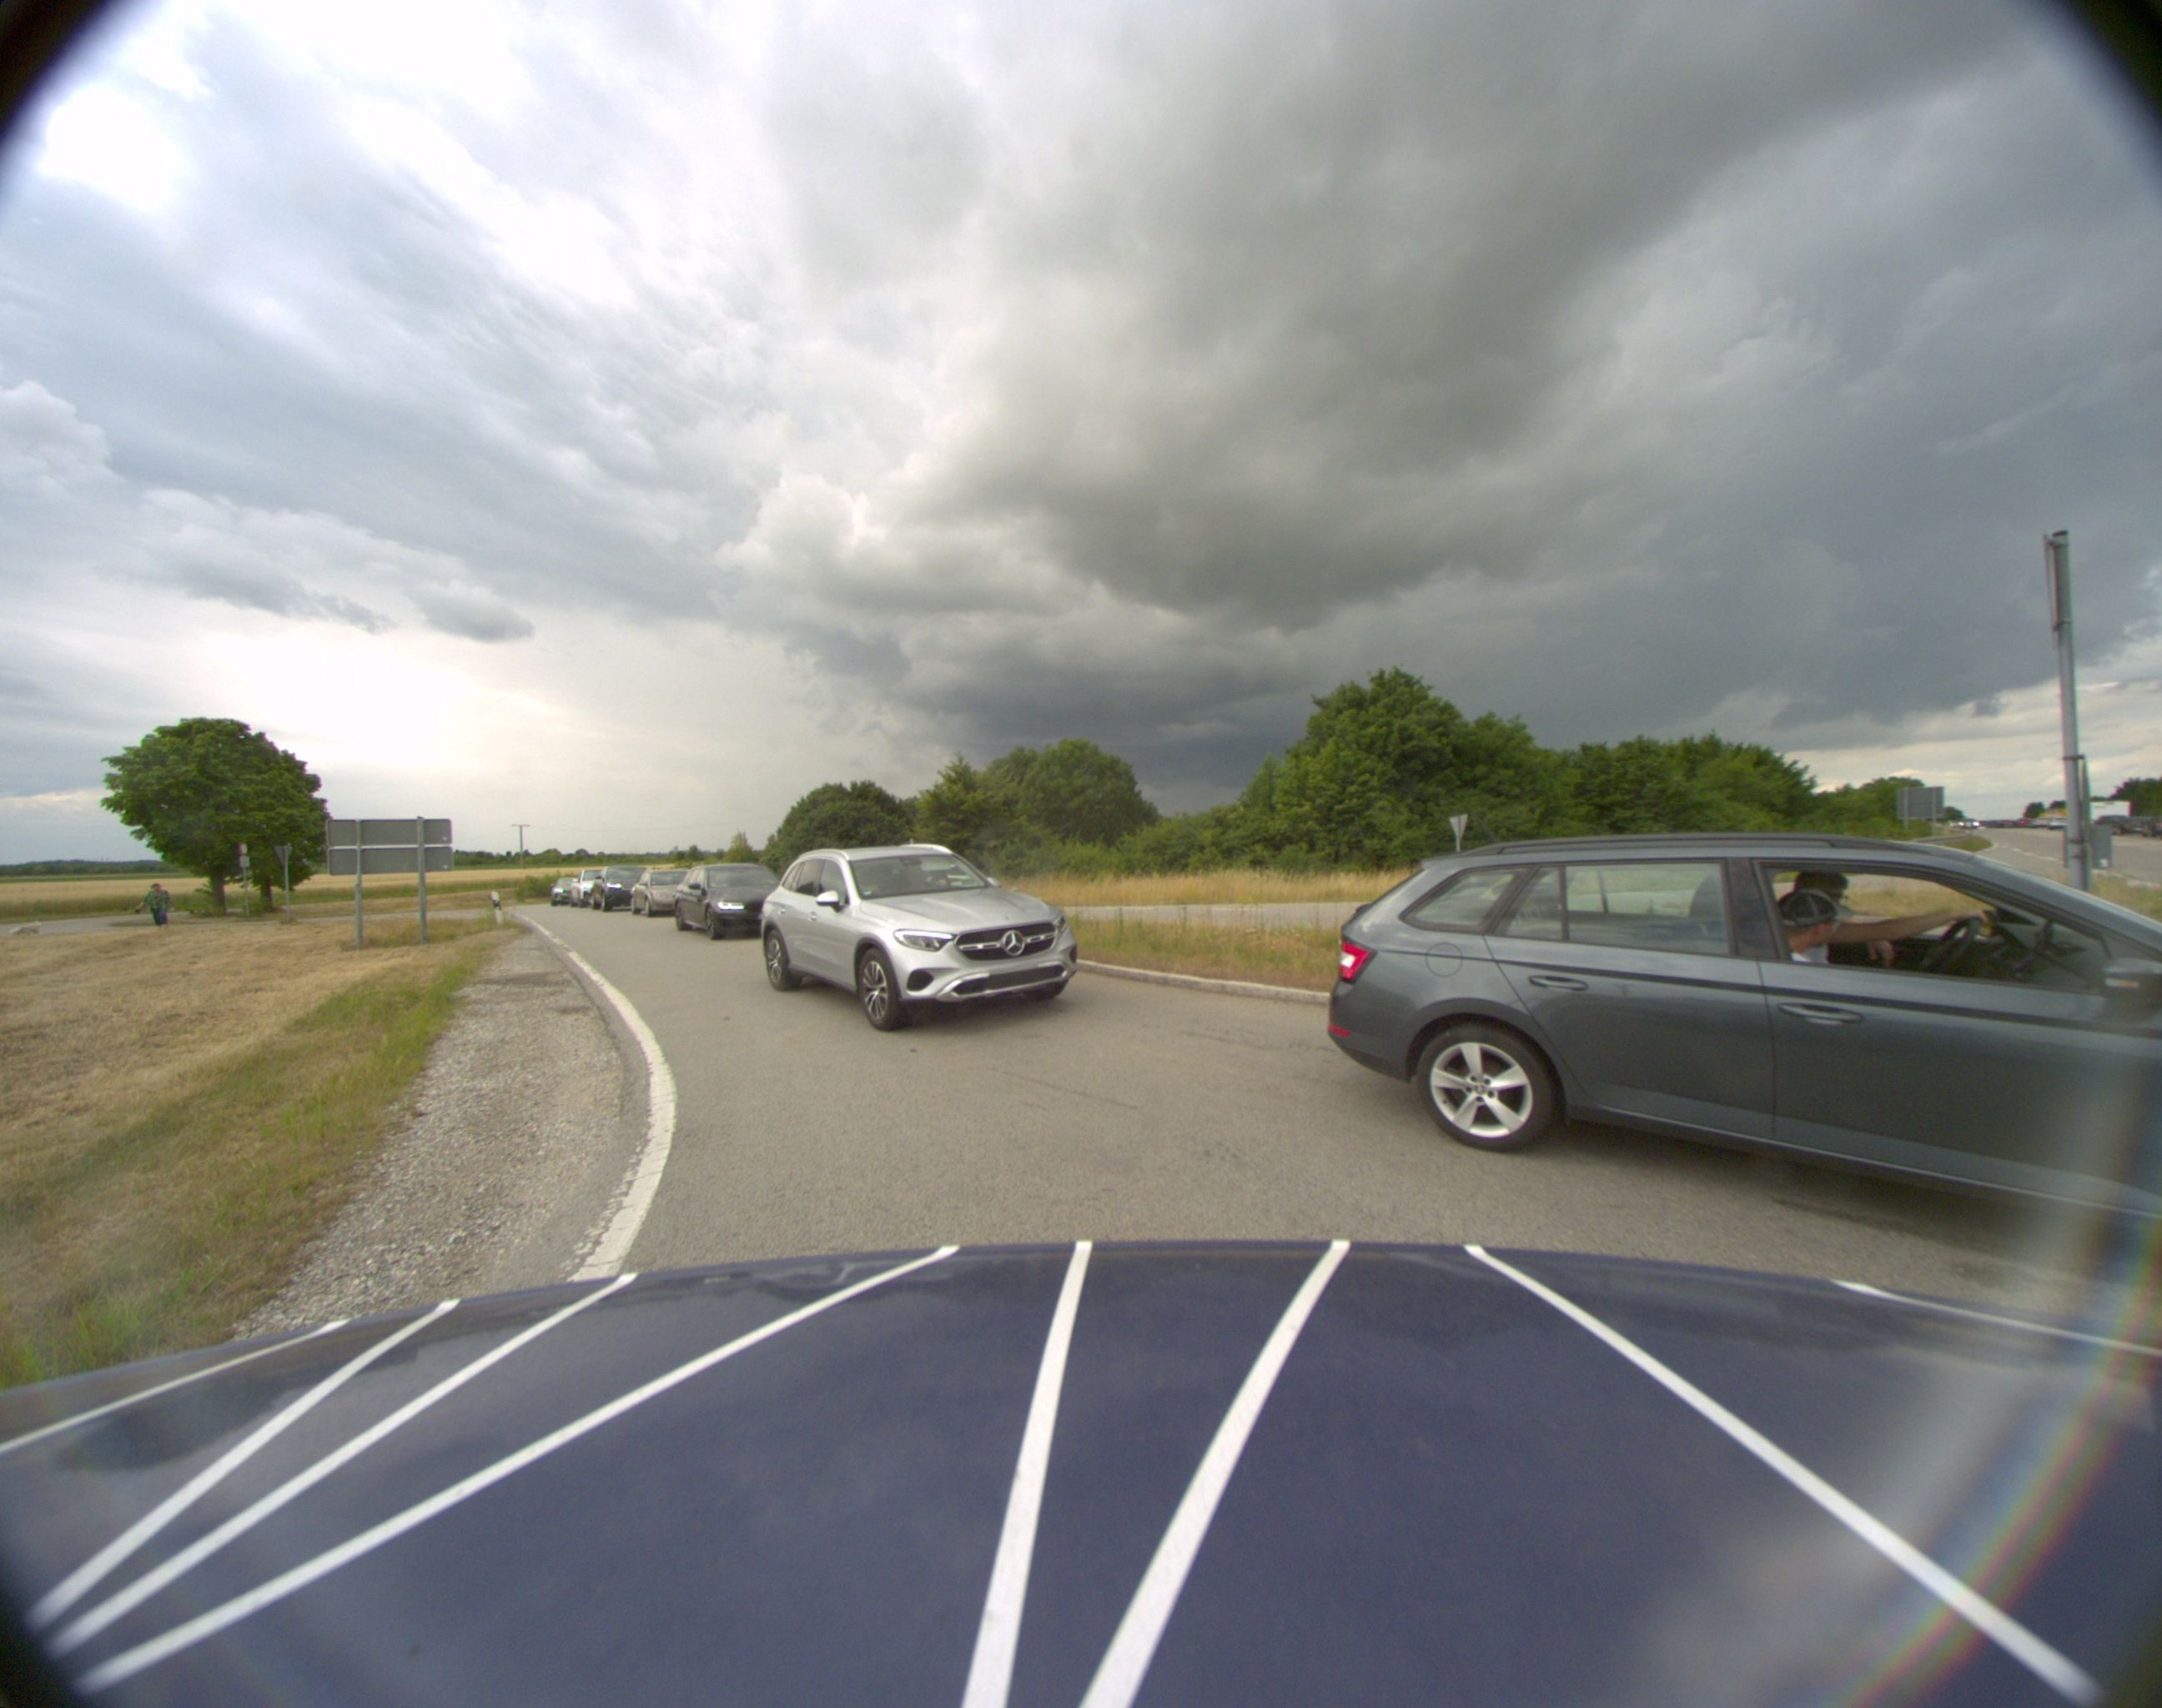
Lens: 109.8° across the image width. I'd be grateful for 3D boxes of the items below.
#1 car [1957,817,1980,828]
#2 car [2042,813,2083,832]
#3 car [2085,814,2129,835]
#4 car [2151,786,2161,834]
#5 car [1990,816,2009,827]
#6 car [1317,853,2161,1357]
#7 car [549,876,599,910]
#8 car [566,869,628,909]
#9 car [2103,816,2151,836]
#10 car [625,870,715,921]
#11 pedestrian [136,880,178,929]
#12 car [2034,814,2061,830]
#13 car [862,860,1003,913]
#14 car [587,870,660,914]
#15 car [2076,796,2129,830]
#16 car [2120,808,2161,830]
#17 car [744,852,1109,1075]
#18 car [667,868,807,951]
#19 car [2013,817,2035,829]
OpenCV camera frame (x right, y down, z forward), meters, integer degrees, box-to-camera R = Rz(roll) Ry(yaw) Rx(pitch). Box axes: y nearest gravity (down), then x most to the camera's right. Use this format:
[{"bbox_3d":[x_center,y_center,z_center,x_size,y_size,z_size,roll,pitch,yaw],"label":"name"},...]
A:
[{"bbox_3d":[124.164,-4.356,106.306,4.007,1.474,1.994,-3,1,-43],"label":"car"},{"bbox_3d":[108.514,-3.463,84.042,4.885,1.911,2.334,-2,1,-43],"label":"car"},{"bbox_3d":[90.281,-2.580,66.929,4.008,1.740,1.853,-2,1,-43],"label":"car"},{"bbox_3d":[68.592,-2.728,46.701,6.571,3.012,2.334,-2,3,-43],"label":"car"},{"bbox_3d":[159.613,-5.615,132.058,4.008,1.740,1.853,-2,1,-42],"label":"car"},{"bbox_3d":[3.365,0.766,3.273,4.105,1.439,1.722,-1,2,41],"label":"car"},{"bbox_3d":[-26.569,1.969,39.755,1.725,1.486,4.202,-5,3,-38],"label":"car"},{"bbox_3d":[-21.194,1.468,33.192,1.725,1.486,4.626,-5,3,-38],"label":"car"},{"bbox_3d":[84.088,-2.234,61.130,4.008,1.516,1.843,-2,1,-43],"label":"car"},{"bbox_3d":[-12.834,1.208,23.593,1.725,1.345,4.202,-2,1,-38],"label":"car"},{"bbox_3d":[-31.599,1.721,25.978,0.942,1.602,0.775,-1,1,34],"label":"pedestrian"},{"bbox_3d":[125.539,-4.094,98.708,4.008,2.002,1.792,-2,1,-43],"label":"car"},{"bbox_3d":[-4.662,0.952,23.601,4.380,1.443,1.775,-1,1,36],"label":"car"},{"bbox_3d":[-17.012,1.341,28.176,1.725,1.346,4.202,-5,3,-38],"label":"car"},{"bbox_3d":[98.894,-3.906,73.654,6.571,3.011,2.334,-2,1,-43],"label":"car"},{"bbox_3d":[77.325,-2.548,55.136,4.008,1.516,1.843,-2,1,-42],"label":"car"},{"bbox_3d":[-1.909,0.847,8.093,2.000,1.577,4.382,-5,3,-38],"label":"car"},{"bbox_3d":[-7.507,1.063,16.299,1.725,1.346,4.682,-5,2,-36],"label":"car"},{"bbox_3d":[140.384,-4.606,113.148,4.008,1.740,1.853,-2,1,-42],"label":"car"}]
